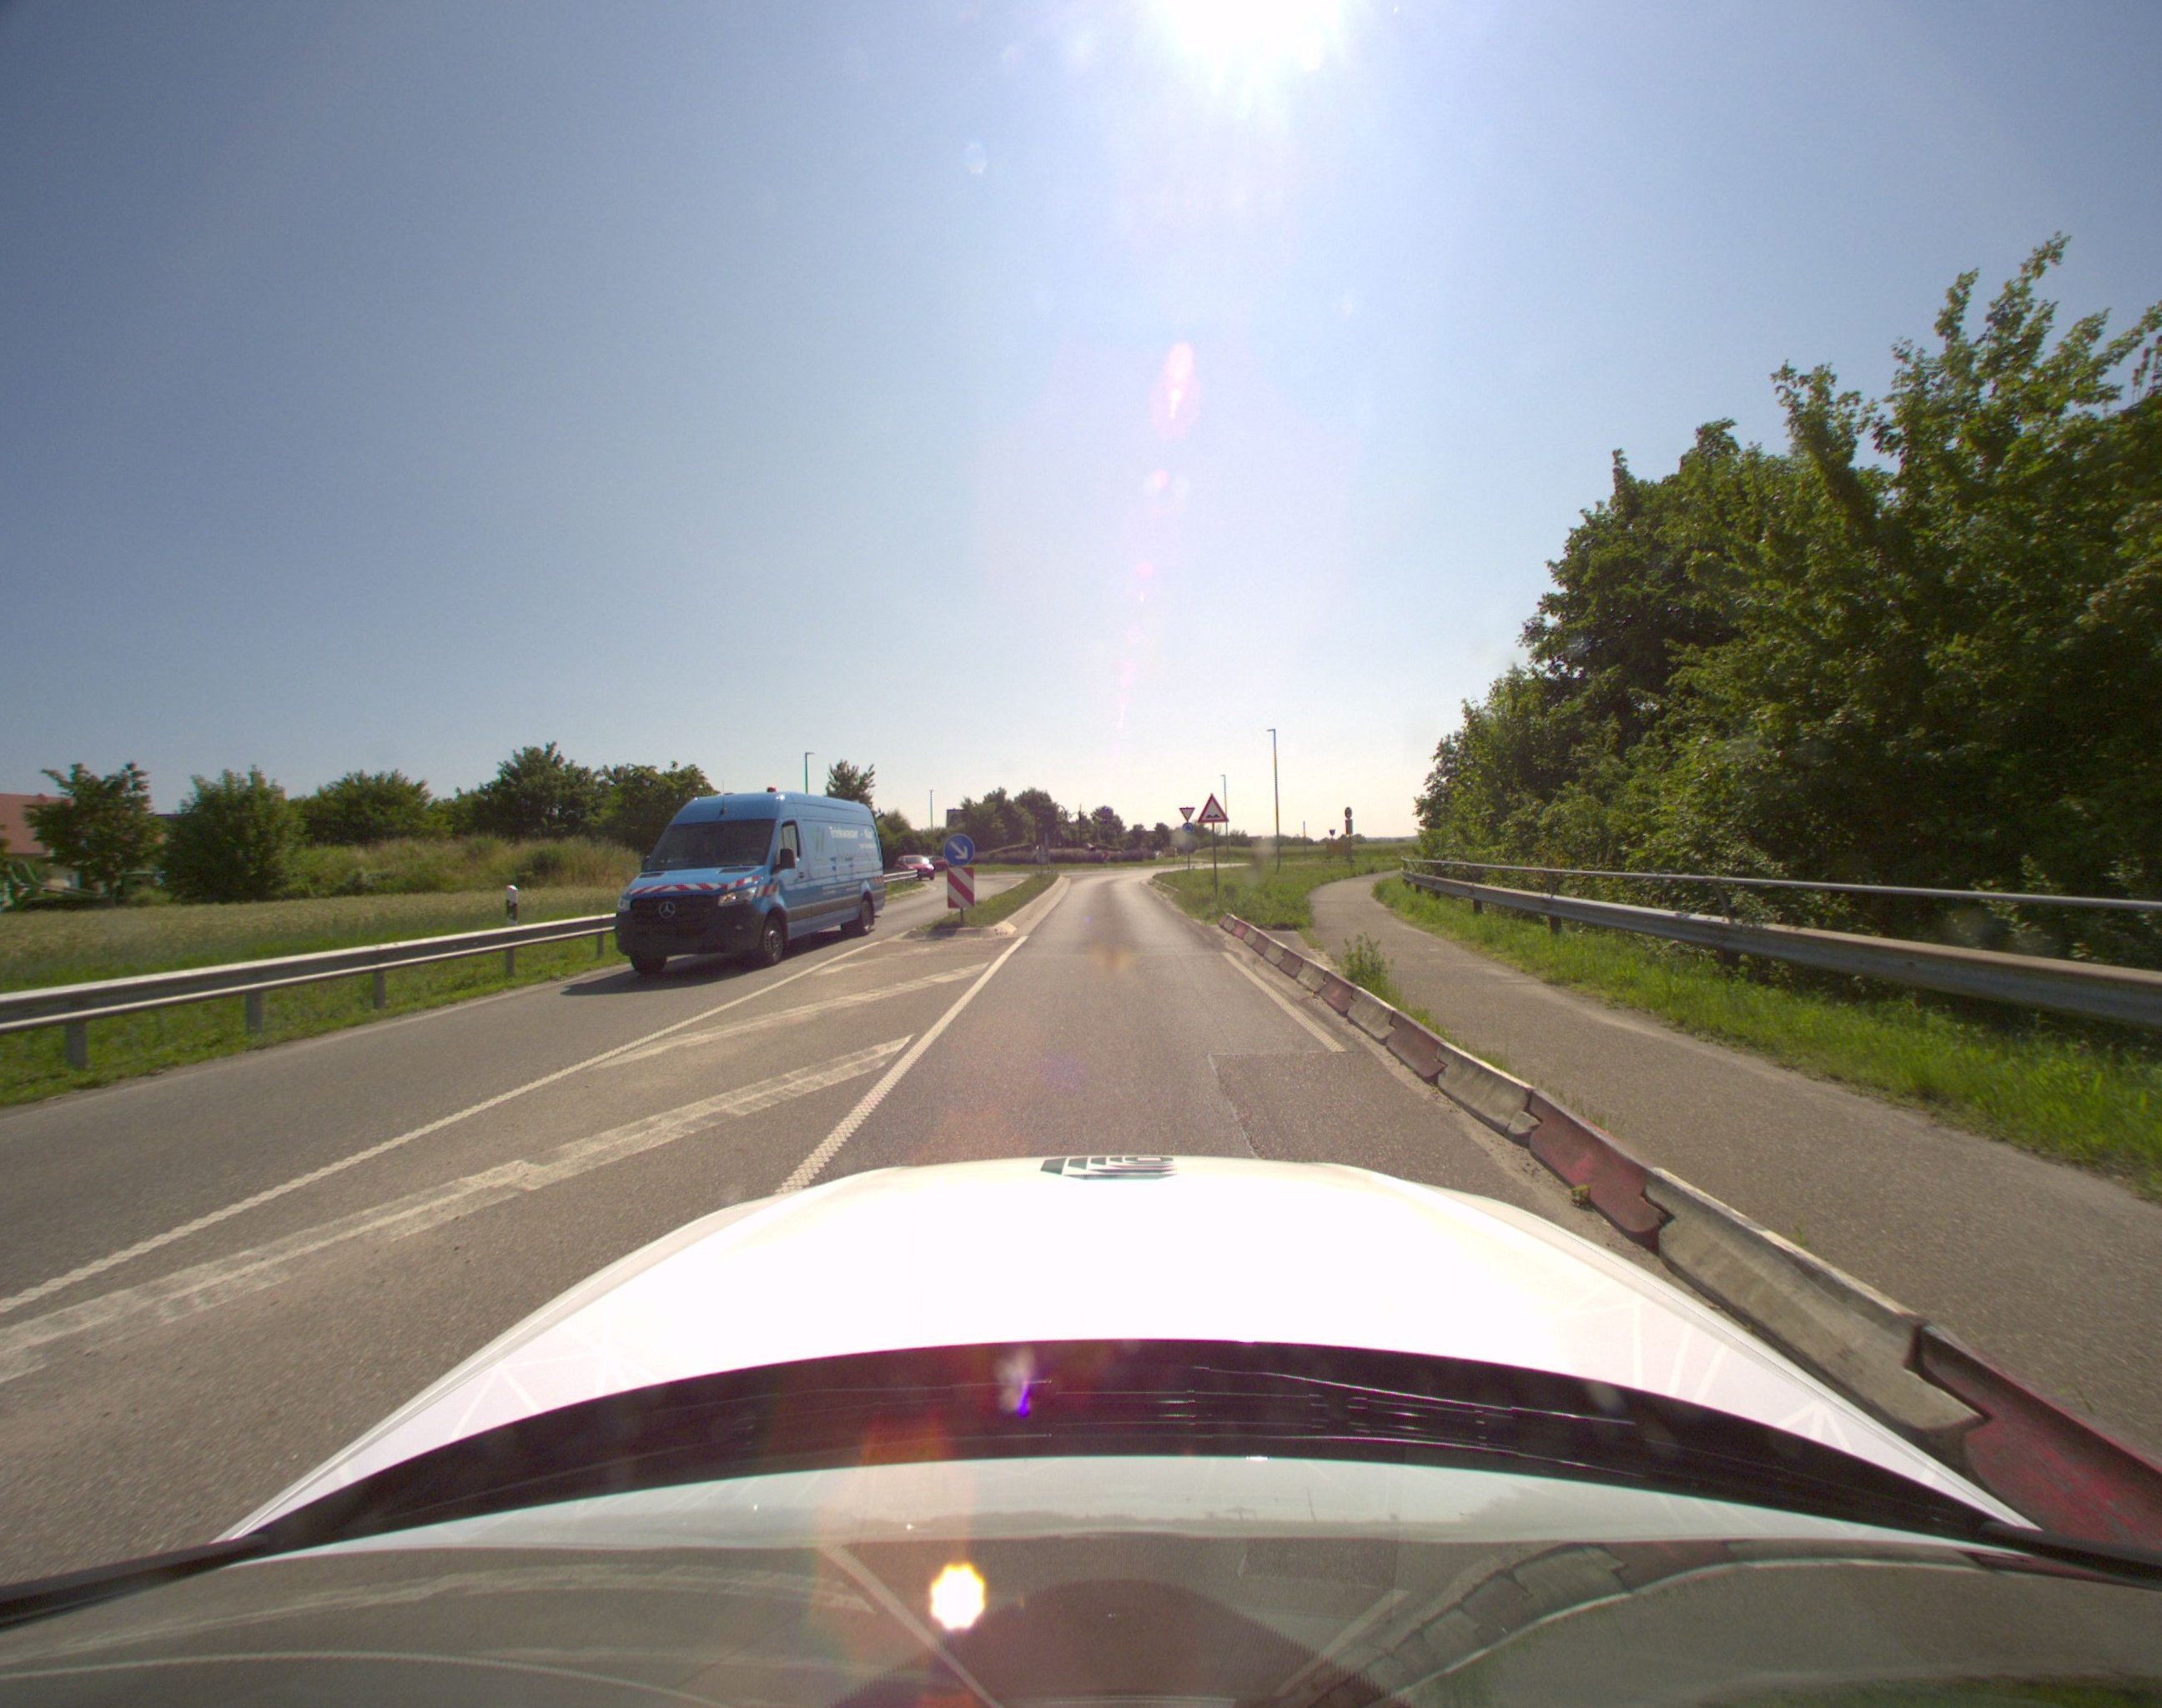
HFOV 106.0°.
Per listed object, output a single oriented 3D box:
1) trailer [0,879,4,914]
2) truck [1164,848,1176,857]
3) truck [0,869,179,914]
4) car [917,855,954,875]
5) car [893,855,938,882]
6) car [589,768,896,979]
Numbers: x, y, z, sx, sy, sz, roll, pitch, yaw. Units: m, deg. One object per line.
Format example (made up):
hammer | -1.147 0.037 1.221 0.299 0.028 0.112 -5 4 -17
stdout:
trailer | -74.121 2.807 49.357 10.535 2.278 1.978 -1 0 -35
truck | 20.375 -0.306 187.124 1.978 2.013 4.018 -2 0 17
truck | -66.674 2.449 54.717 7.719 2.649 2.494 -1 0 -35
car | -12.636 0.970 70.880 1.732 1.522 3.844 -3 1 12
car | -10.090 0.896 49.373 1.636 1.491 3.768 -3 0 -28
car | -5.209 0.255 14.169 1.986 2.611 7.292 -3 0 1
